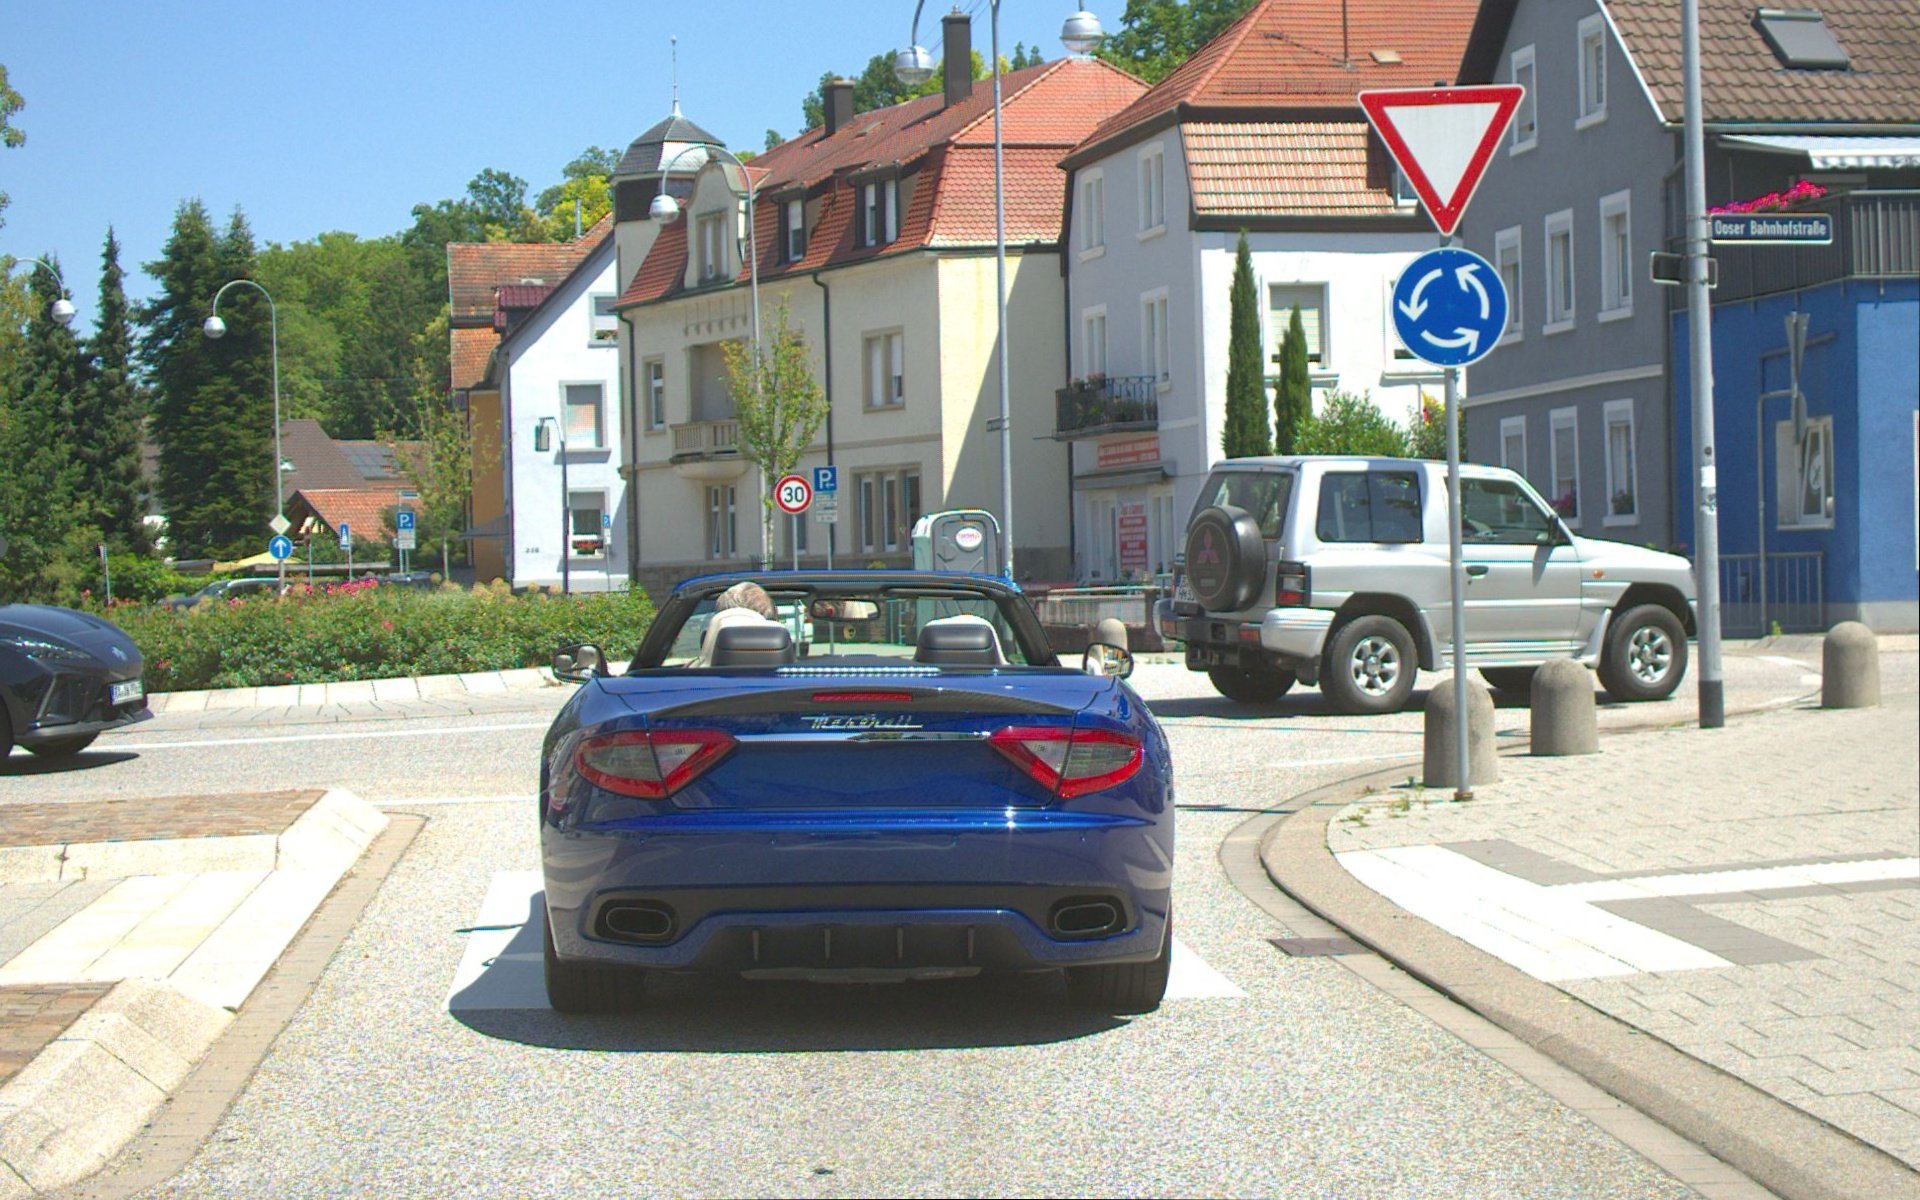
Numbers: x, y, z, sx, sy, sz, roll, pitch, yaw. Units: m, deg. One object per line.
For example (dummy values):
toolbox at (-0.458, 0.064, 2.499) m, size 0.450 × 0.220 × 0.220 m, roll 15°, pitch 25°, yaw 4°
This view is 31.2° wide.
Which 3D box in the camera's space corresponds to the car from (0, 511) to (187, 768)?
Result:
car at (-7.469, 0.349, 22.494) m, size 4.250 × 1.541 × 1.811 m, roll -4°, pitch 2°, yaw 7°

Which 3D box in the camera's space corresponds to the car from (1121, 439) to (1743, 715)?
car at (3.448, -0.234, 25.093) m, size 4.216 × 1.868 × 1.764 m, roll -1°, pitch 3°, yaw -25°

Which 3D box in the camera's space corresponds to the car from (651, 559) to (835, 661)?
car at (-3.764, 0.195, 58.864) m, size 1.918 × 1.607 × 4.148 m, roll -2°, pitch 0°, yaw -21°

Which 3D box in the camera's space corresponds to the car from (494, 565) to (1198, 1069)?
car at (-0.323, 0.572, 11.534) m, size 1.910 × 1.356 × 4.285 m, roll -1°, pitch 1°, yaw 0°

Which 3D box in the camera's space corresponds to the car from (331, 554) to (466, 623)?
car at (-14.023, -0.274, 85.736) m, size 1.850 × 1.582 × 4.000 m, roll -3°, pitch 1°, yaw -32°
